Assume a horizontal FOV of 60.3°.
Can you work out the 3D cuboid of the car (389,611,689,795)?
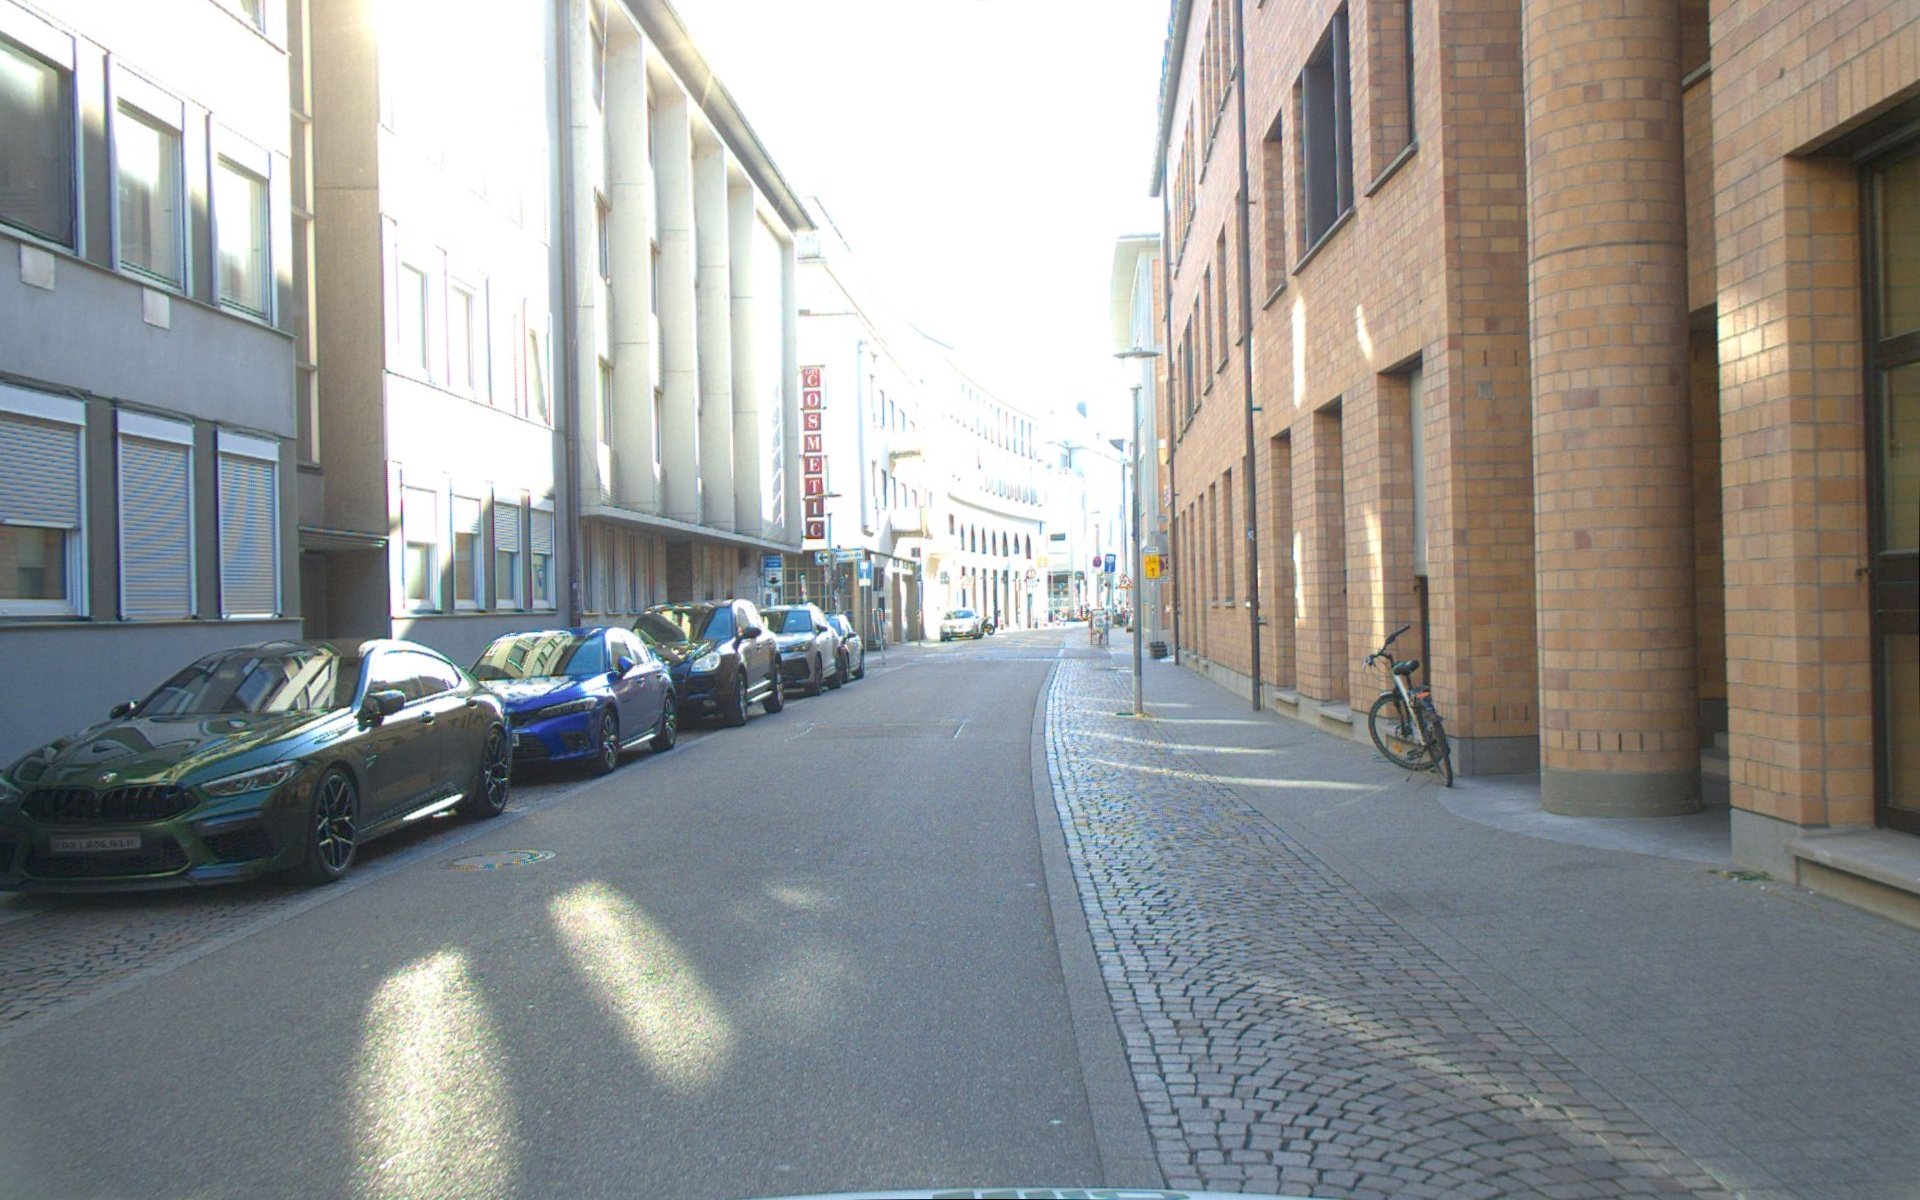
[{"bbox_3d":[-4.183,0.952,17.203,1.851,1.556,4.340,-2,0,1],"label":"car"}]

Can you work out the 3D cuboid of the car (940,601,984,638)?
[{"bbox_3d":[0.109,0.901,76.335,1.700,1.634,3.535,-1,0,5],"label":"car"}]

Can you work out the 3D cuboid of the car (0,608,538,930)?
[{"bbox_3d":[-4.505,0.928,11.194,1.851,1.556,4.730,-5,0,2],"label":"car"}]

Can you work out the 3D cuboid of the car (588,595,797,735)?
[{"bbox_3d":[-3.615,0.819,23.238,1.850,1.705,4.556,-2,0,4],"label":"car"}]

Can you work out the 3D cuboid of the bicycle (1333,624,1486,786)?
[{"bbox_3d":[3.535,0.786,13.183,0.539,1.122,1.981,-5,0,-2],"label":"bicycle"}]

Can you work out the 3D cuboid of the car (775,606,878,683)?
[{"bbox_3d":[-2.913,0.946,36.828,1.614,1.486,4.001,-4,0,4],"label":"car"}]

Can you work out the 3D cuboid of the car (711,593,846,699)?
[{"bbox_3d":[-3.295,0.794,30.821,1.851,1.772,4.391,-2,0,1],"label":"car"}]

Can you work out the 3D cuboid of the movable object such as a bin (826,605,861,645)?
[{"bbox_3d":[-4.205,0.893,59.662,0.926,1.445,0.871,1,-1,-43],"label":"movable object such as a bin"}]

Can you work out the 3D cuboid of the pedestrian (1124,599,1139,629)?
[{"bbox_3d":[10.760,0.894,103.695,0.651,1.901,0.754,1,-1,-26],"label":"pedestrian"}]

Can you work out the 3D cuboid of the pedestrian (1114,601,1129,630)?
[{"bbox_3d":[10.639,1.026,108.874,0.651,1.901,0.780,1,-1,-26],"label":"pedestrian"}]

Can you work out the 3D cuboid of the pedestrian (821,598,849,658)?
[{"bbox_3d":[-3.521,0.792,46.565,0.640,1.654,0.451,-1,0,-38],"label":"pedestrian"}]

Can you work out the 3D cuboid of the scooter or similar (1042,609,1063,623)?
[{"bbox_3d":[6.836,1.178,122.082,0.516,0.944,2.221,-1,0,34],"label":"scooter or similar"}]

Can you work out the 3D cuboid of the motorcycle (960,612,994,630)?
[{"bbox_3d":[0.845,1.067,83.712,1.655,0.874,0.595,0,-1,9],"label":"motorcycle"}]

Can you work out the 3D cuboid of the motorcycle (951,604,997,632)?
[{"bbox_3d":[0.734,0.967,87.673,2.340,1.340,0.862,-3,0,4],"label":"motorcycle"}]

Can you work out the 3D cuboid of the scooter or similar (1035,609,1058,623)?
[{"bbox_3d":[6.207,1.136,118.611,0.516,0.944,2.221,-1,0,34],"label":"scooter or similar"}]
